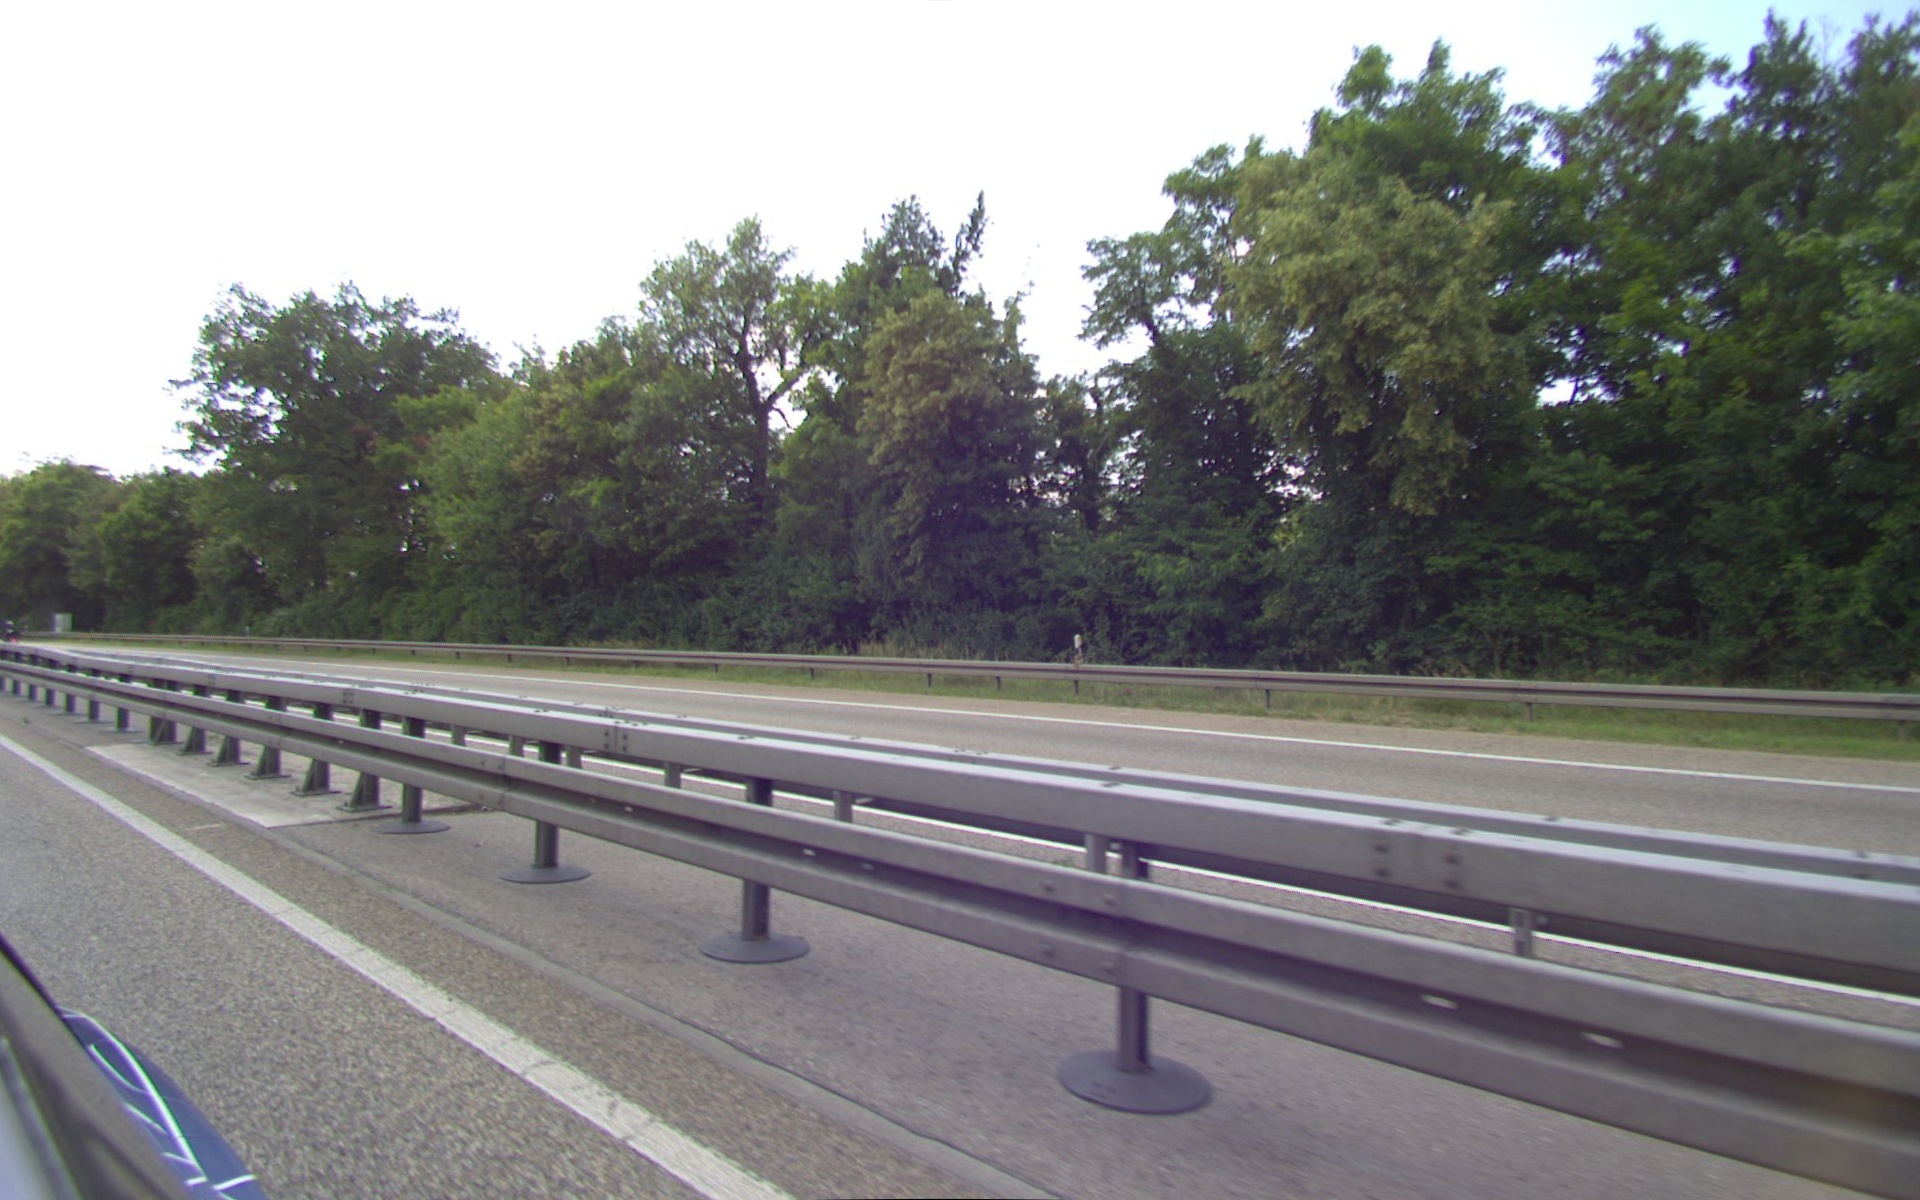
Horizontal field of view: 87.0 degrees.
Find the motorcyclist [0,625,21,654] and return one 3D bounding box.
[{"bbox_3d":[-41.184,1.720,43.696,0.719,1.235,0.817,-2,-3,40],"label":"motorcyclist"}]

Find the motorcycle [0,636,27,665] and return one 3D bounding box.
[{"bbox_3d":[-41.273,2.179,43.753,2.995,1.210,0.989,-1,-3,40],"label":"motorcycle"}]
